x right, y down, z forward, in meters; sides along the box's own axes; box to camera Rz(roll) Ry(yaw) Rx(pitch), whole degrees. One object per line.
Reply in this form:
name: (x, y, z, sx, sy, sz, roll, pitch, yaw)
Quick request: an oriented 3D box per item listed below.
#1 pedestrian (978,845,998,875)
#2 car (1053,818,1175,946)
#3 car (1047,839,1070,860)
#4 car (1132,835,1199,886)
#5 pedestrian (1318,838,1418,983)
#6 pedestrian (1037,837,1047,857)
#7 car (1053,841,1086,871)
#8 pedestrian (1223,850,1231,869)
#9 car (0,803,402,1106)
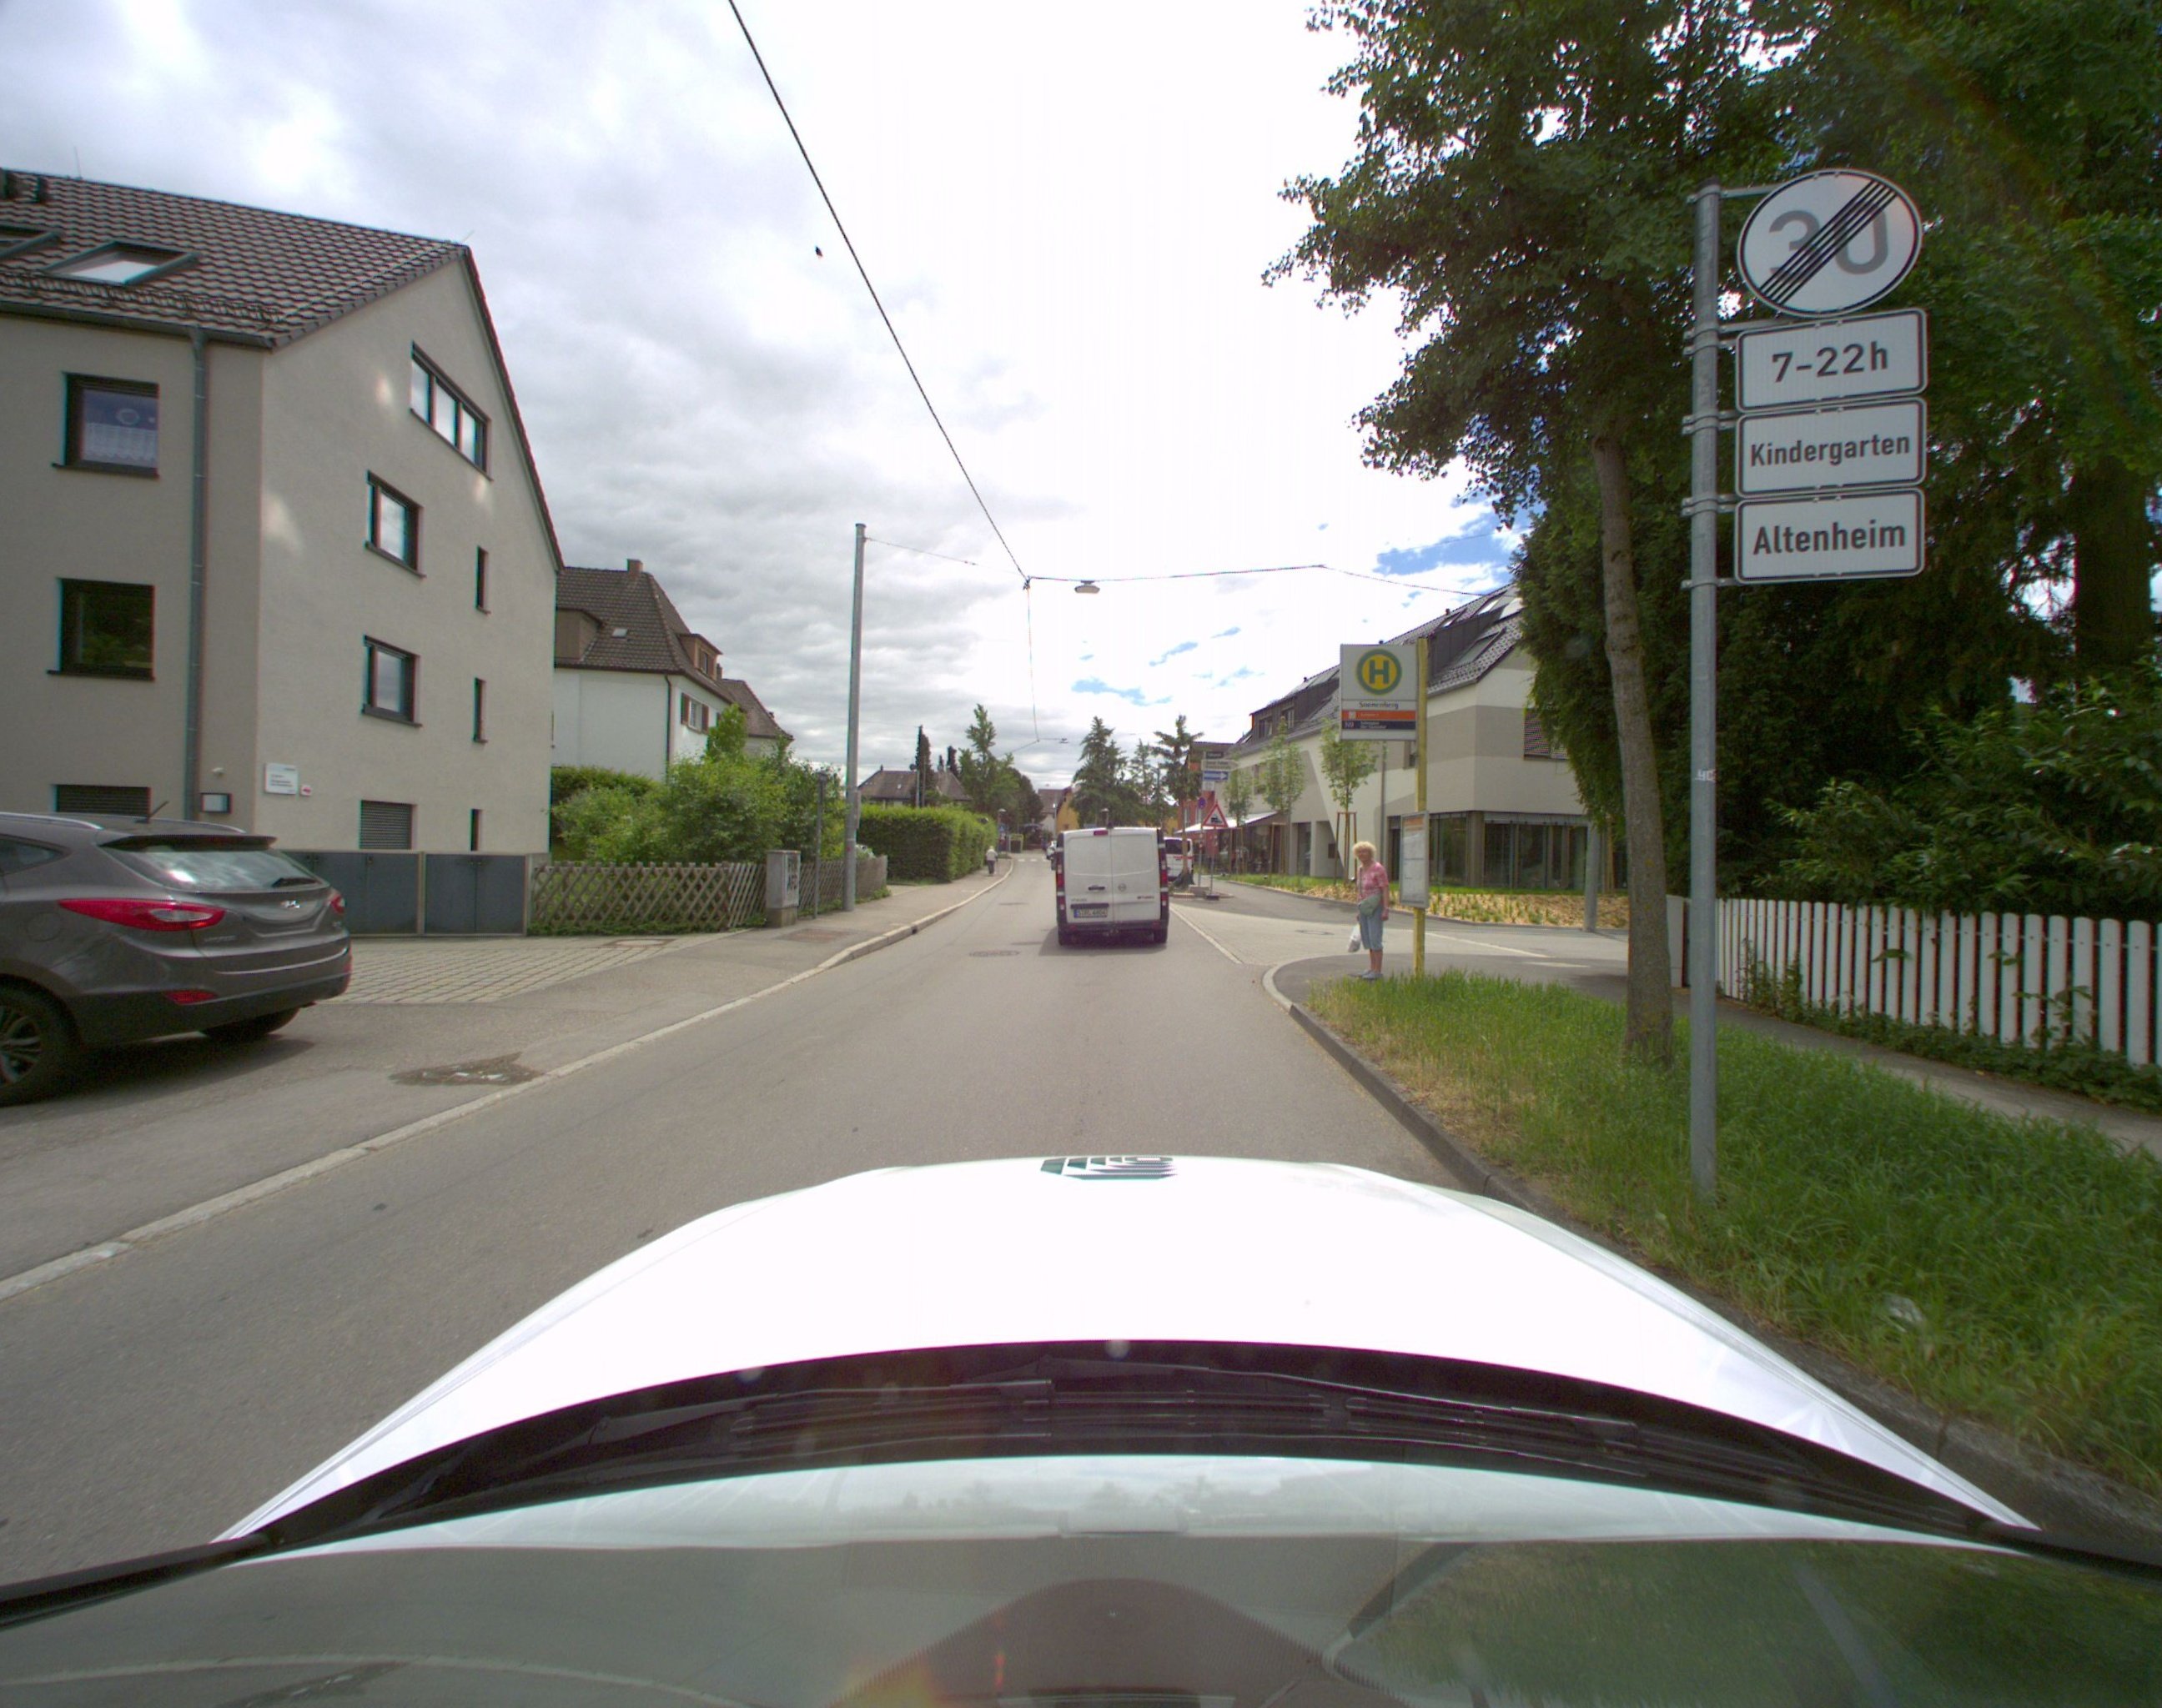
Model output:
pedestrian: (-4.720, 0.300, 41.336, 0.879, 1.485, 0.452, 3, -1, -23)
car: (0.449, 0.467, 15.055, 1.911, 2.003, 4.433, 0, -1, -2)
car: (-1.992, -0.382, 70.892, 1.989, 1.782, 3.996, 0, 0, -3)
car: (3.490, 0.251, 34.553, 1.954, 1.916, 4.895, 3, 0, -4)
pedestrian: (3.466, 0.658, 9.924, 0.877, 1.645, 0.858, 3, 0, 3)
pedestrian: (-4.101, -0.734, 85.720, 0.833, 2.013, 0.677, 3, -1, -13)
car: (-0.790, 0.122, 53.436, 1.989, 1.848, 3.996, 0, 0, -3)
pedestrian: (8.842, 0.340, 49.408, 0.420, 1.182, 0.323, 1, 0, -5)
car: (-7.483, 0.498, 5.277, 4.310, 1.695, 1.792, 3, 0, -10)
